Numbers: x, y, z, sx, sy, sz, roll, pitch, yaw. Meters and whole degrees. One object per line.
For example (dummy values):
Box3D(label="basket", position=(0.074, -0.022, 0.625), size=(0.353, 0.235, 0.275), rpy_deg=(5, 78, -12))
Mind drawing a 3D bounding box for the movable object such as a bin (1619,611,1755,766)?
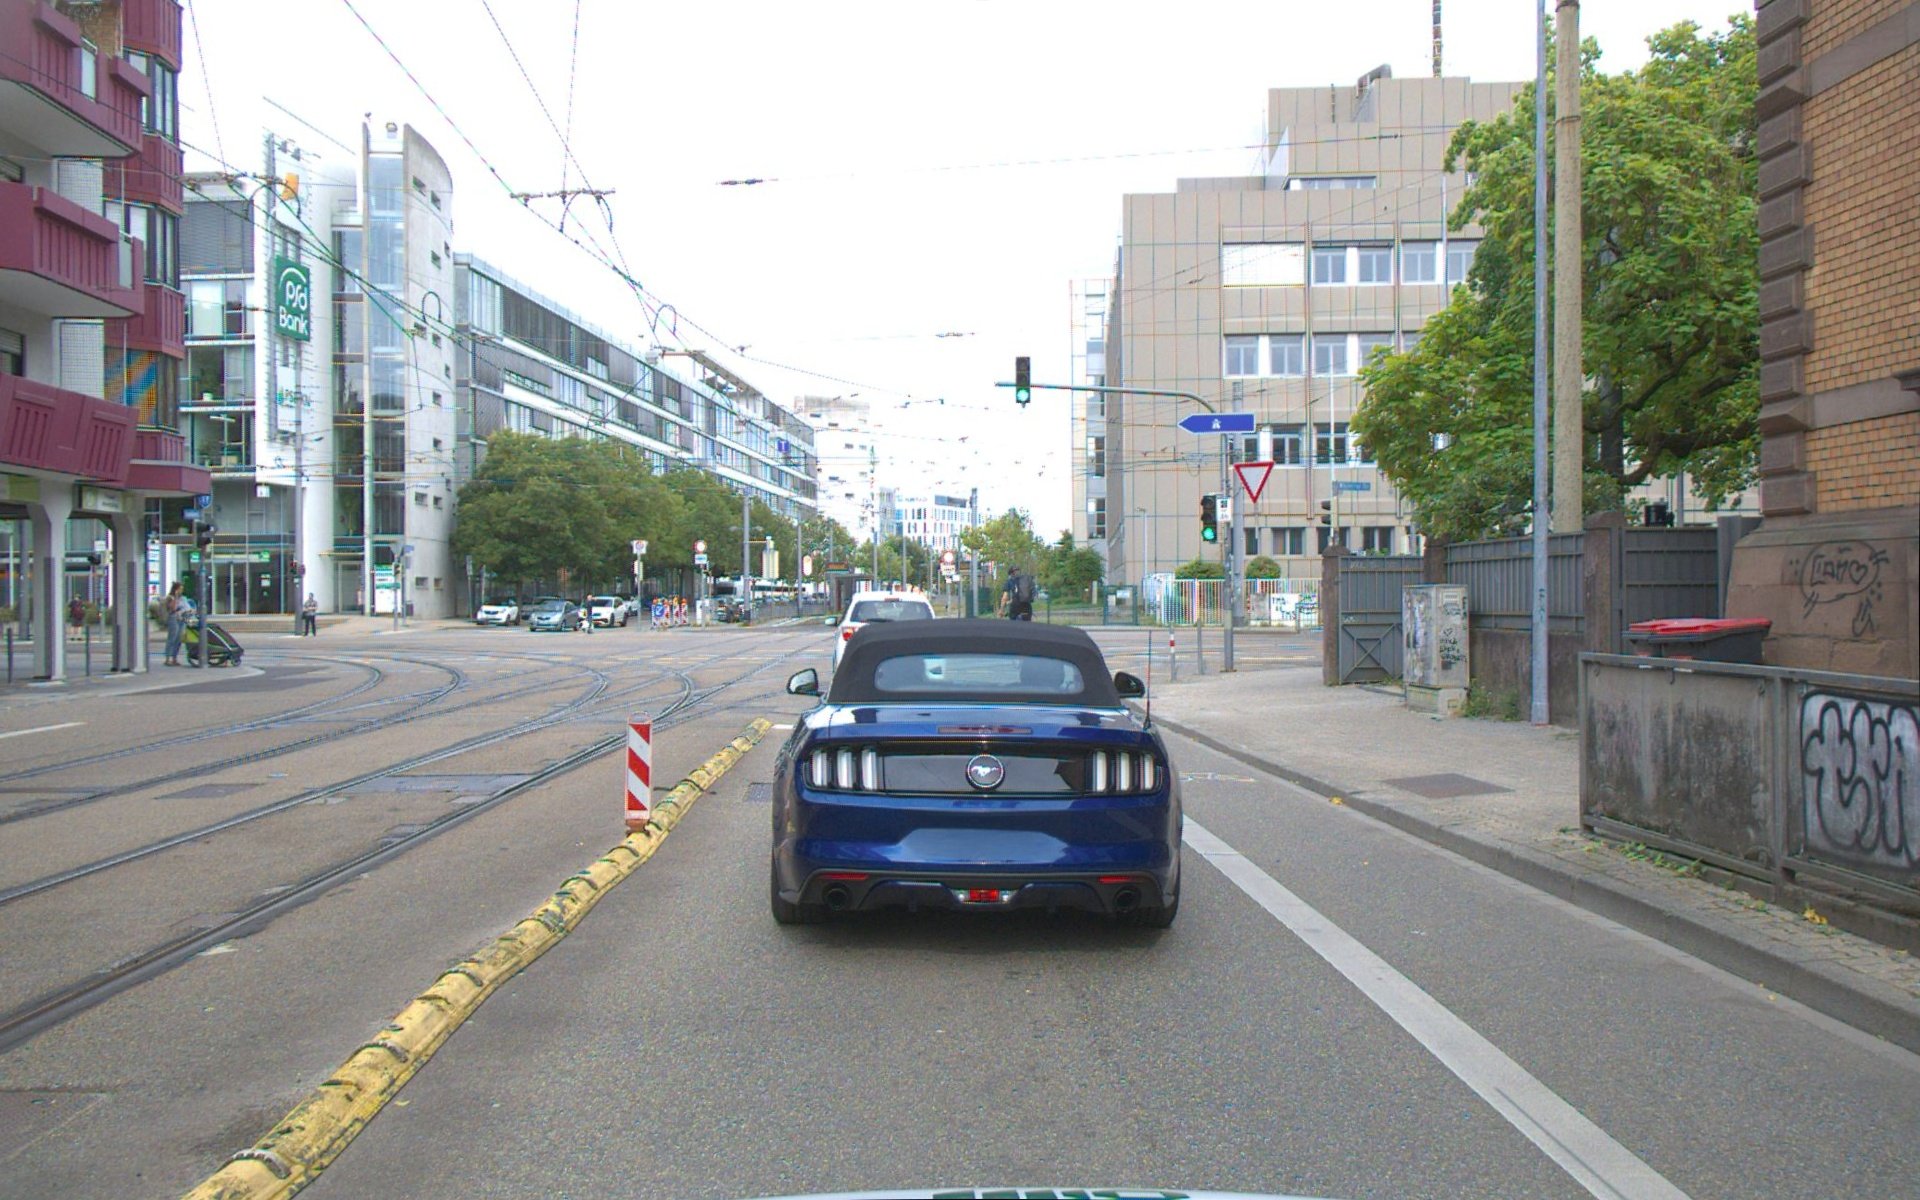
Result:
Box3D(label="movable object such as a bin", position=(5.546, 0.660, 12.637), size=(0.638, 1.101, 0.677), rpy_deg=(-4, 0, -6))

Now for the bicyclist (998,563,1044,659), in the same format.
Box3D(label="bicyclist", position=(1.166, 0.208, 32.008), size=(0.780, 1.816, 1.232), rpy_deg=(-1, 0, -3))

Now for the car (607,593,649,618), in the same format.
Box3D(label="car", position=(-23.243, 0.365, 115.980), size=(1.945, 1.584, 4.513), rpy_deg=(1, 1, 0))

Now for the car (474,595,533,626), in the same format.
Box3D(label="car", position=(-24.965, 0.542, 90.550), size=(1.791, 1.584, 4.218), rpy_deg=(1, 1, 3))

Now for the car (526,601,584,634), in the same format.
Box3D(label="car", position=(-20.210, 0.861, 82.697), size=(1.633, 1.533, 4.236), rpy_deg=(1, 1, 3))

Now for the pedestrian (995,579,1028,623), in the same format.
Box3D(label="pedestrian", position=(2.242, 0.042, 71.863), size=(1.068, 1.931, 0.898), rpy_deg=(-1, 0, 37))

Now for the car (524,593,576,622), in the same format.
Box3D(label="car", position=(-24.201, 0.435, 97.760), size=(1.791, 1.584, 4.218), rpy_deg=(1, 1, 3))

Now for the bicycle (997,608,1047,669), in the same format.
Box3D(label="bicycle", position=(1.180, 0.718, 31.985), size=(0.784, 1.105, 2.130), rpy_deg=(-1, 0, -3))

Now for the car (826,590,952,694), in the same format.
Box3D(label="car", position=(-1.191, 0.589, 25.978), size=(1.799, 1.464, 4.183), rpy_deg=(-1, 0, -5))

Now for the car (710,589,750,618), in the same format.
Box3D(label="car", position=(-13.471, 0.206, 97.033), size=(1.841, 1.657, 4.086), rpy_deg=(-1, 0, -1))

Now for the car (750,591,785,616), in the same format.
Box3D(label="car", position=(-12.851, 0.222, 110.577), size=(1.830, 1.634, 4.212), rpy_deg=(-1, 0, -1))

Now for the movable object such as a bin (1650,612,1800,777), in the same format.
Box3D(label="movable object such as a bin", position=(5.498, 0.664, 11.920), size=(0.650, 1.101, 0.700), rpy_deg=(-4, 0, -6))

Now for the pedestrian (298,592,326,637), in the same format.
Box3D(label="pedestrian", position=(-28.096, 0.630, 71.683), size=(0.816, 1.897, 0.766), rpy_deg=(-1, 0, 11))

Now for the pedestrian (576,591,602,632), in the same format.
Box3D(label="pedestrian", position=(-17.179, 0.540, 76.522), size=(0.968, 1.888, 0.902), rpy_deg=(-1, 0, 1))

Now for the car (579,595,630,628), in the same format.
Box3D(label="car", position=(-19.640, 0.605, 91.538), size=(1.679, 1.689, 4.135), rpy_deg=(1, 1, 3))

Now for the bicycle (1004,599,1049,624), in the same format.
Box3D(label="bicycle", position=(2.909, 0.522, 72.477), size=(0.629, 0.998, 2.125), rpy_deg=(-1, -2, -42))

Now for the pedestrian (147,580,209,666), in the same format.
Box3D(label="pedestrian", position=(-16.476, 0.481, 34.856), size=(0.929, 1.774, 0.811), rpy_deg=(0, 0, -5))

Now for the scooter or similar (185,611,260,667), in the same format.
Box3D(label="scooter or similar", position=(-15.568, 0.807, 34.947), size=(1.172, 1.148, 0.946), rpy_deg=(0, 0, -3))

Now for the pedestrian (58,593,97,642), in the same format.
Box3D(label="pedestrian", position=(-30.640, 0.599, 57.444), size=(0.915, 1.700, 0.766), rpy_deg=(-1, 0, 11))

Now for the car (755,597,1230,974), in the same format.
Box3D(label="car", position=(0.111, 0.725, 8.618), size=(1.838, 1.428, 4.282), rpy_deg=(1, 0, -1))
